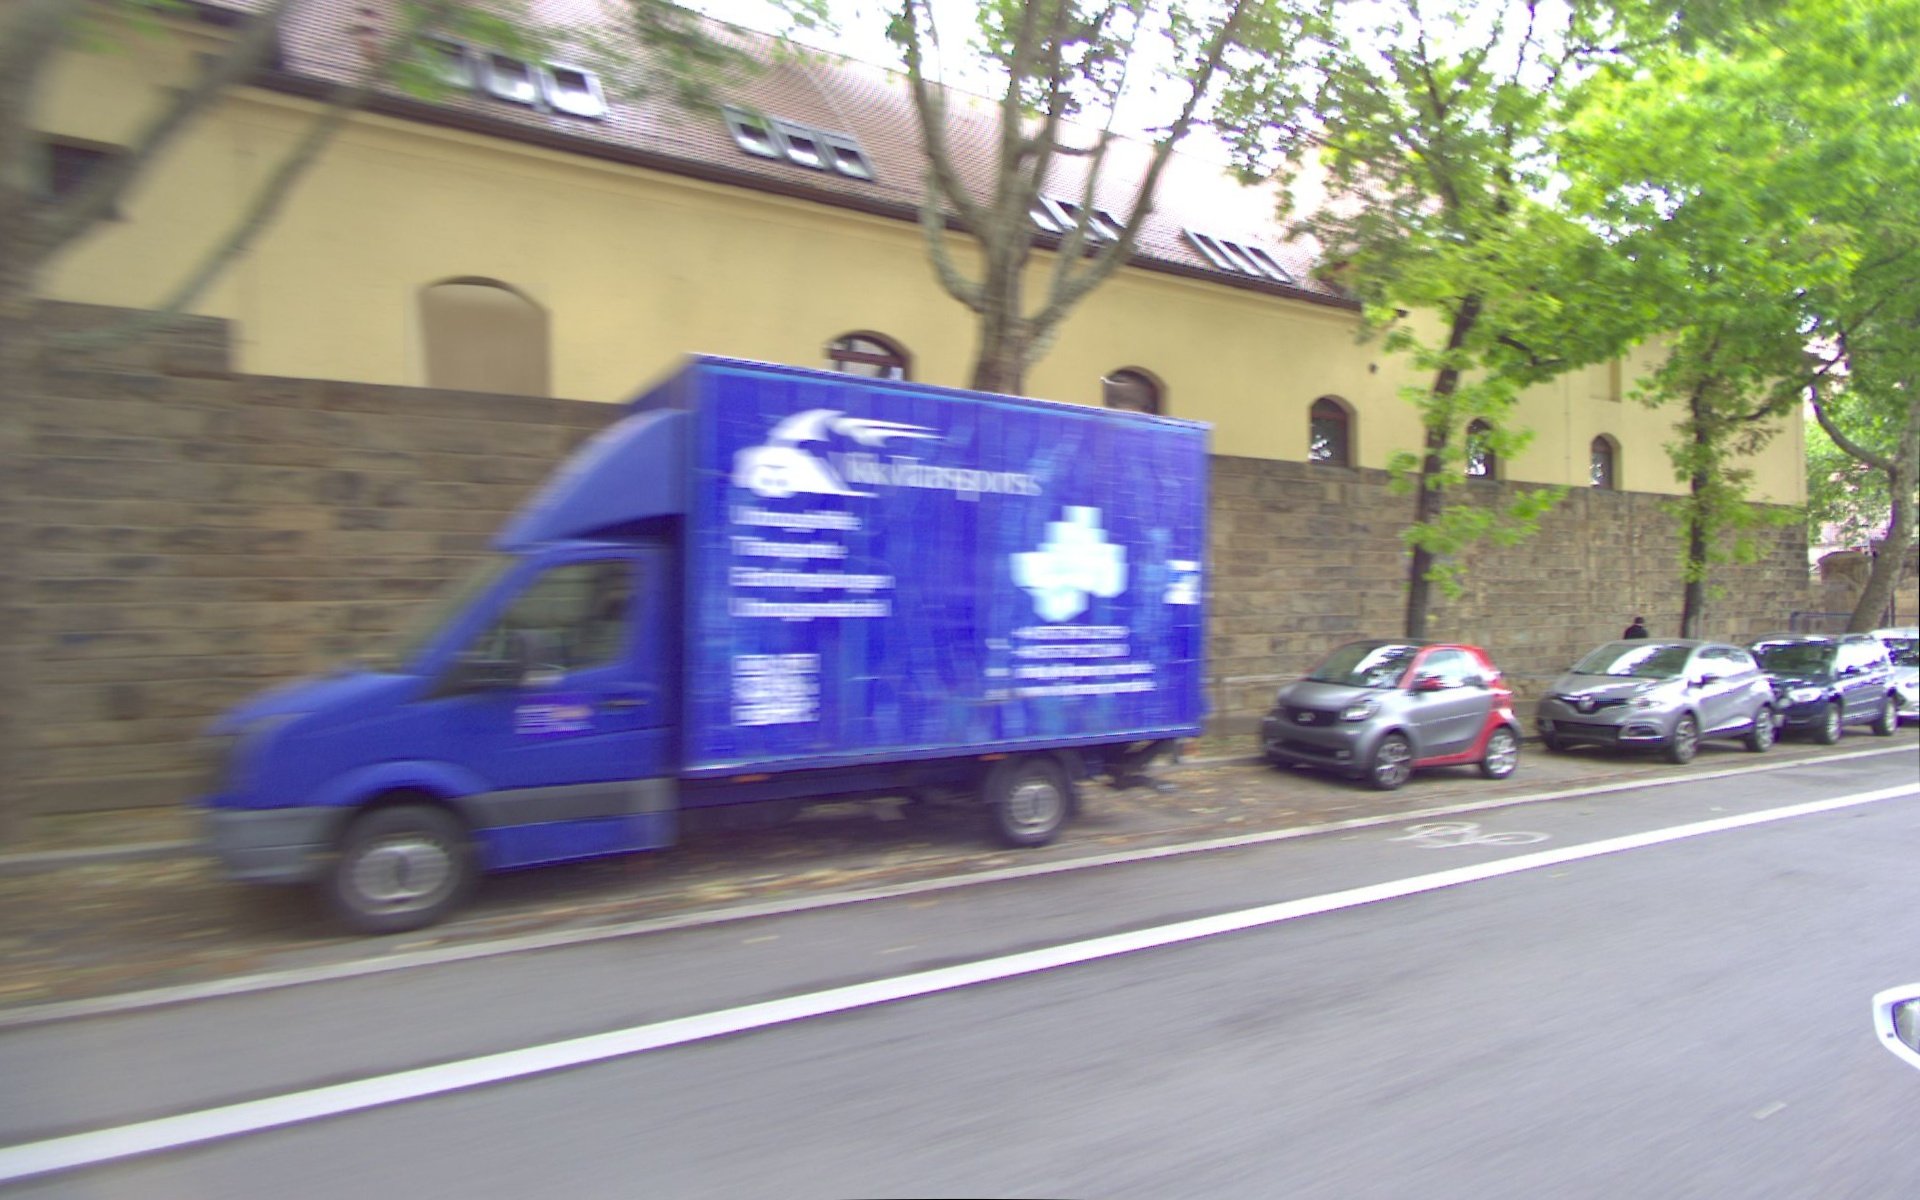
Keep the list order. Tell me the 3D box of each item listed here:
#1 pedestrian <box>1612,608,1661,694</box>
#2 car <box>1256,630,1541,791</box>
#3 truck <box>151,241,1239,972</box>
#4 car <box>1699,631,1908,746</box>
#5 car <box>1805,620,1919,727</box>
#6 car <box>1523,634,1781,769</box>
[{"bbox_3d":[14.711,1.092,21.836,0.734,1.823,0.590,2,0,-29],"label":"pedestrian"},{"bbox_3d":[5.060,1.190,11.576,2.955,1.594,1.474,2,0,-28],"label":"car"},{"bbox_3d":[-1.295,0.099,7.575,7.165,3.462,2.204,1,0,-31],"label":"truck"},{"bbox_3d":[14.039,1.394,16.661,4.071,1.653,1.499,2,0,-33],"label":"car"},{"bbox_3d":[18.616,1.375,19.610,4.363,1.901,1.826,1,-2,-30],"label":"car"},{"bbox_3d":[9.829,1.335,14.178,4.044,1.594,1.584,2,0,-33],"label":"car"}]
